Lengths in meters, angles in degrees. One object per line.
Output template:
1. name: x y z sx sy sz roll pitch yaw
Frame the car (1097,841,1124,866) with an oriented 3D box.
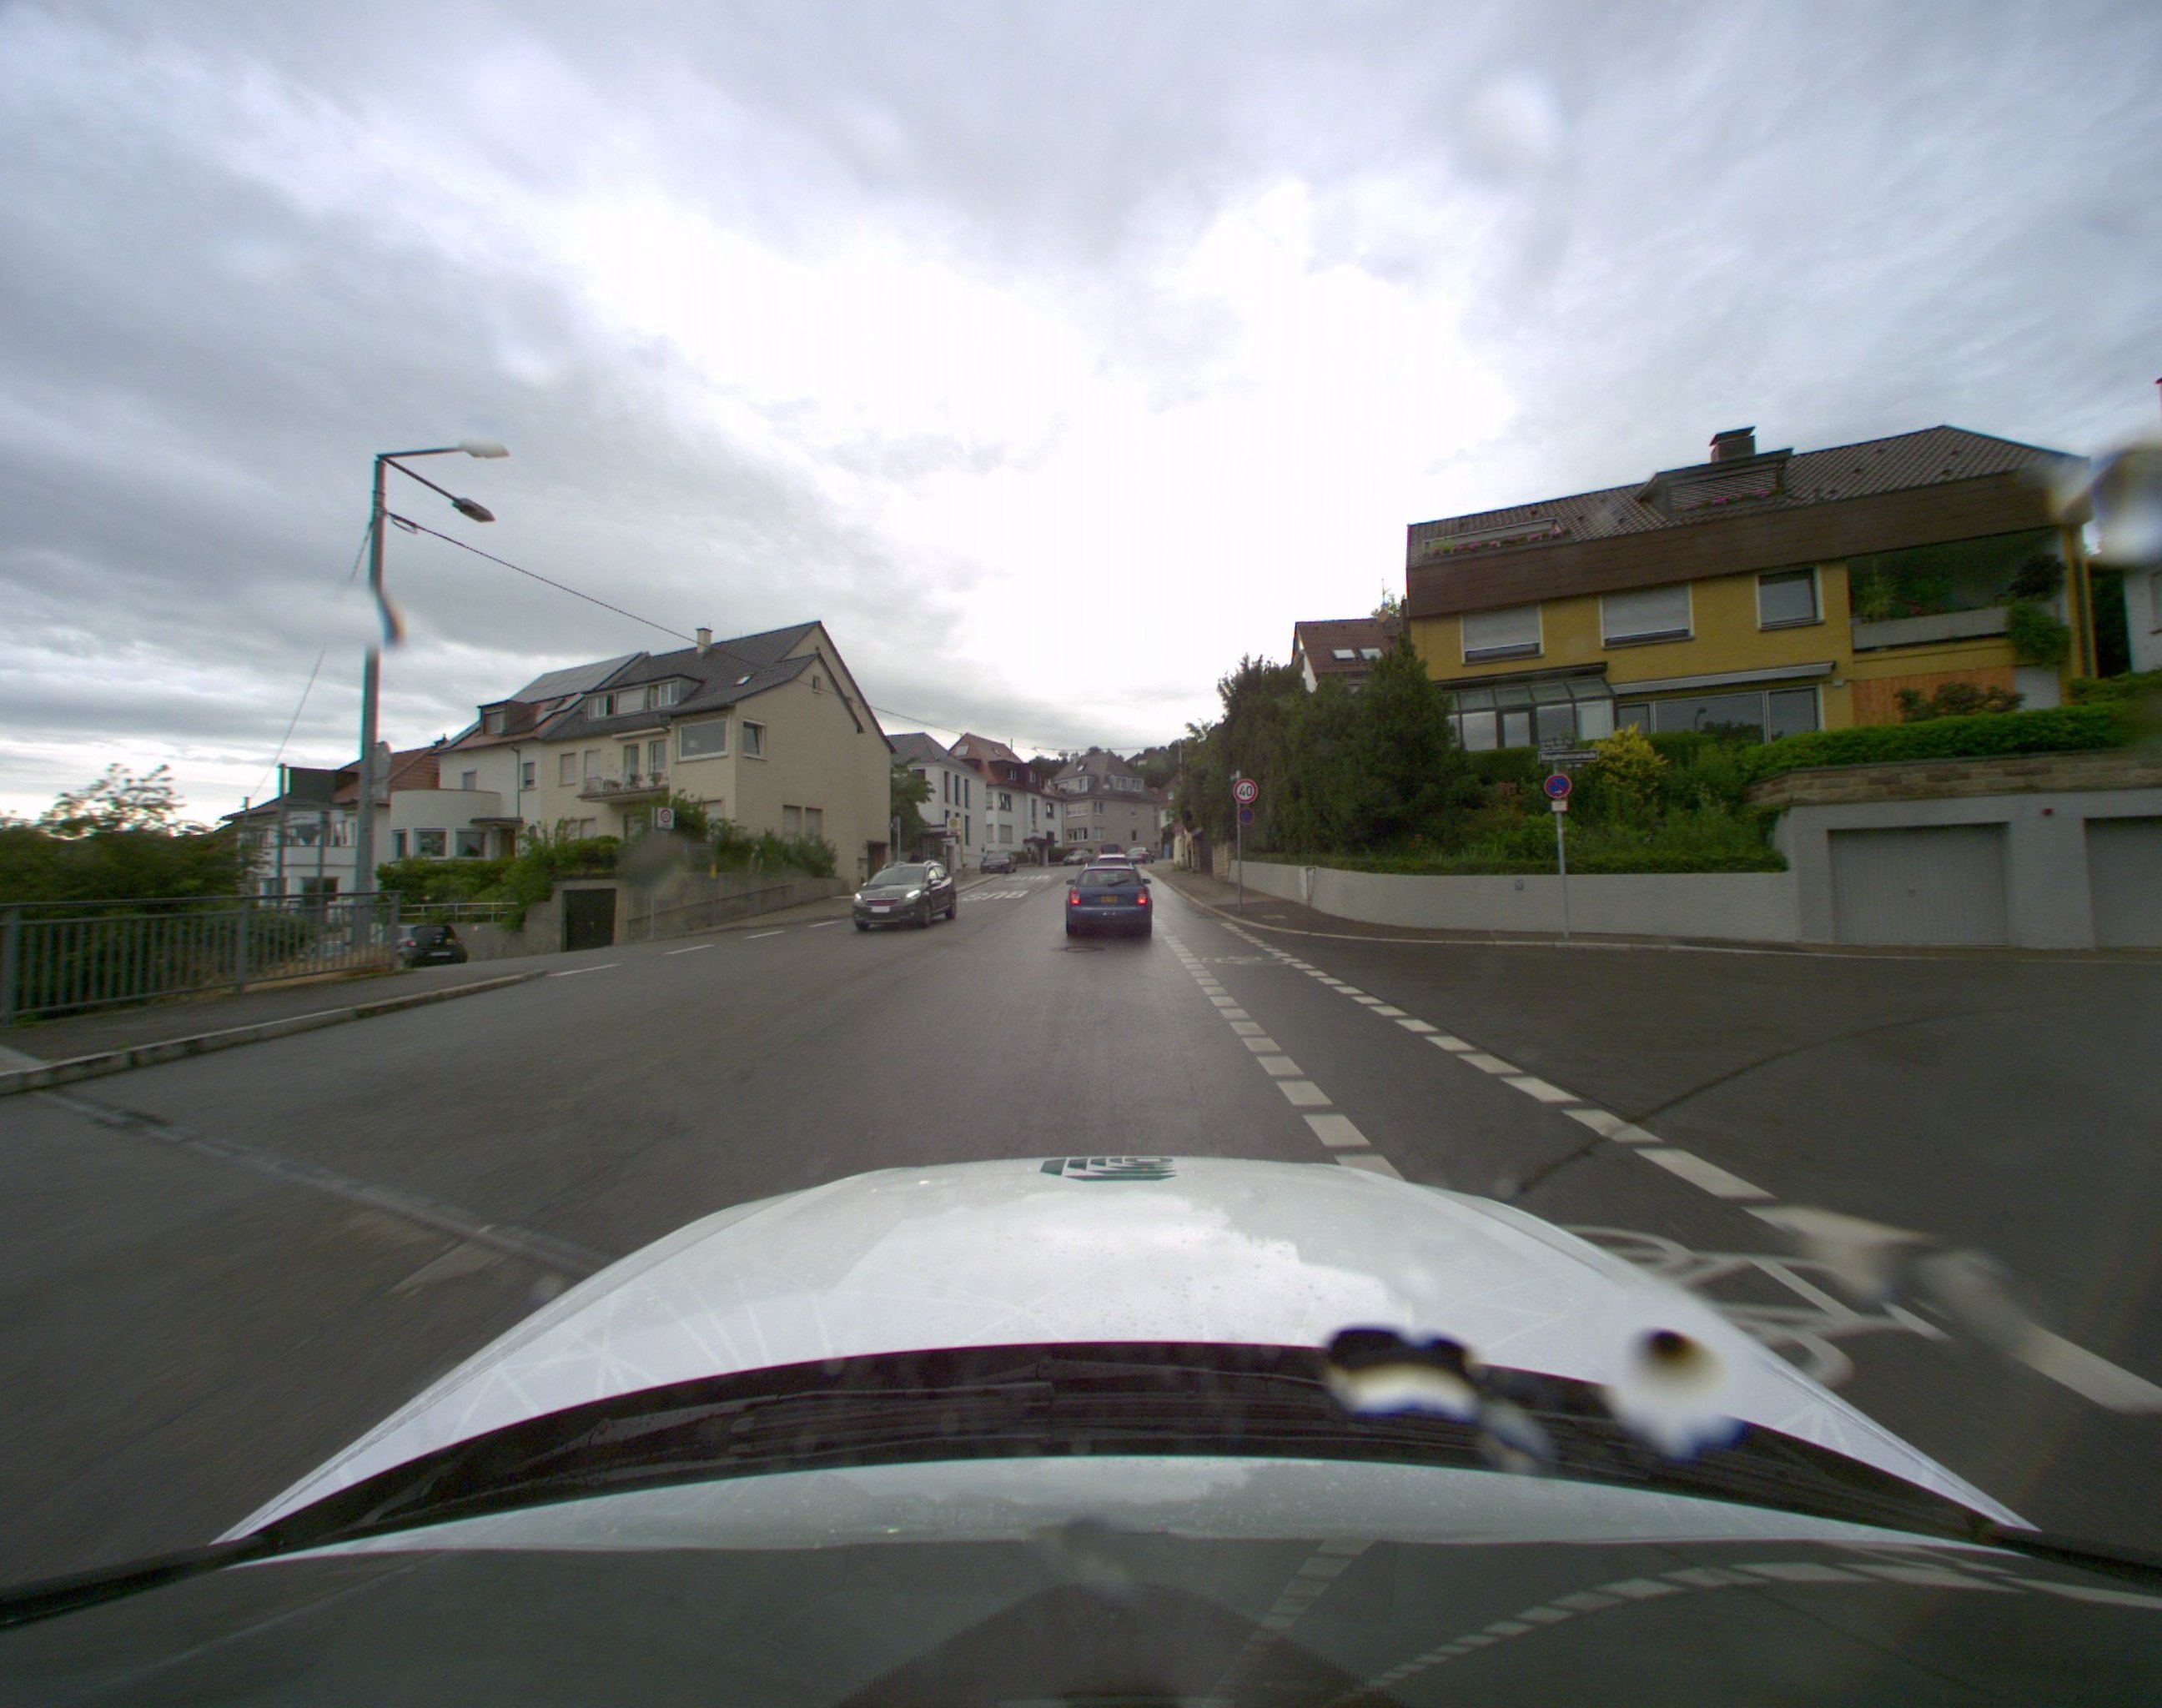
1. car: 2.231 -0.053 61.372 1.921 1.706 4.002 -3 0 2

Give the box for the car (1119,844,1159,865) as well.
1. car: 5.279 0.065 73.621 1.909 1.706 4.025 -3 0 30

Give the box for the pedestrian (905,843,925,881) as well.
1. pedestrian: -8.186 0.404 40.148 0.783 1.857 0.728 0 0 1

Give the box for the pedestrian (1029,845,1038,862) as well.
1. pedestrian: -4.468 -0.005 77.114 0.488 1.577 0.952 -2 0 20

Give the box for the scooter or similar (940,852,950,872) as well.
1. scooter or similar: -8.457 0.511 50.587 0.336 1.220 1.123 -1 0 3

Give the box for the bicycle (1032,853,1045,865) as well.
1. bicycle: -3.982 0.429 77.023 0.452 1.067 1.931 -2 1 20

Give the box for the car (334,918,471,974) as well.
1. car: -20.781 2.824 24.935 3.951 1.271 1.662 -8 -6 24

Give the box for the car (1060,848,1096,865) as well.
1. car: -0.263 0.224 80.568 1.819 1.425 4.253 -4 0 24

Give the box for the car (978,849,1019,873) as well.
1. car: -5.543 0.471 55.409 1.820 1.485 4.998 -2 0 5

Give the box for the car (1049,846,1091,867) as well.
1. car: -1.181 0.284 89.752 3.949 1.823 2.013 -7 -2 29

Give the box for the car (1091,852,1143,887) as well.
1. car: 1.434 0.610 33.504 1.807 1.361 3.996 0 -1 -2

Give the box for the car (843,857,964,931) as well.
1. car: -4.232 0.899 20.109 1.725 1.545 4.005 -3 0 5

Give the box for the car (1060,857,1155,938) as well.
1. car: 0.593 0.827 17.448 1.804 1.439 4.084 0 1 2
